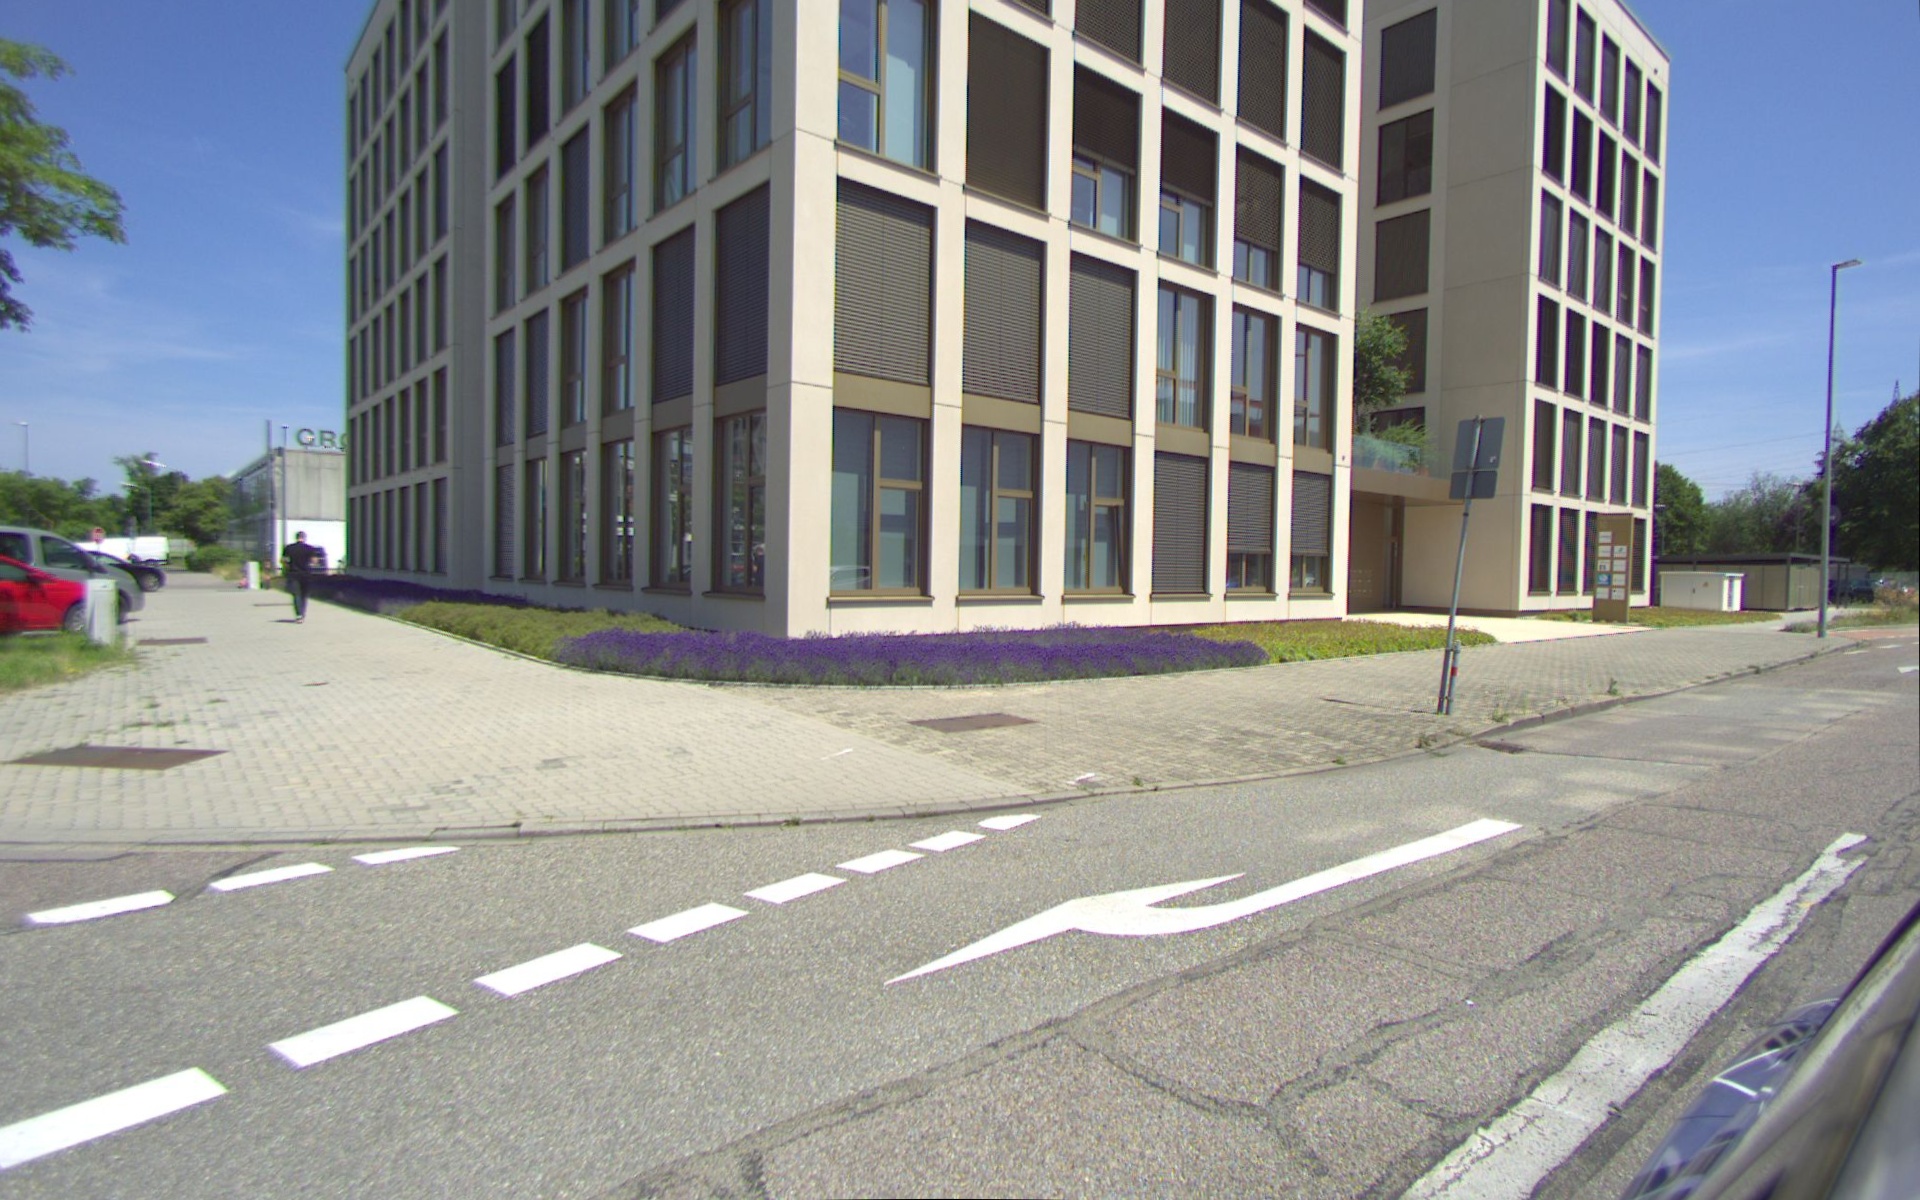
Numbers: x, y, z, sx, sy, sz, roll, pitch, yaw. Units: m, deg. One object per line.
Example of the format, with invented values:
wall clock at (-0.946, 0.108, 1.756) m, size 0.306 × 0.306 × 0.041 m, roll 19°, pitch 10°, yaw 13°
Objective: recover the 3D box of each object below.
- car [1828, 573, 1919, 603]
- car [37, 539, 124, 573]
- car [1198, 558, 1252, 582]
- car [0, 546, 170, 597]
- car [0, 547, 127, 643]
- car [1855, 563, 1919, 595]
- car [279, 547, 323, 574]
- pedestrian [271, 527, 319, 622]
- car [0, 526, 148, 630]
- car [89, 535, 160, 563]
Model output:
car at (55.701, -0.732, 61.581) m, size 3.960 × 1.682 × 1.822 m, roll 2°, pitch 3°, yaw 26°
car at (-54.960, -2.719, 63.347) m, size 3.925 × 2.038 × 2.000 m, roll 0°, pitch 2°, yaw -36°
car at (21.072, -2.382, 80.490) m, size 3.921 × 1.874 × 2.002 m, roll 0°, pitch 2°, yaw -31°
car at (-29.008, -0.978, 33.543) m, size 1.792 × 1.557 × 4.131 m, roll 0°, pitch 3°, yaw 19°
car at (-15.420, -0.085, 15.578) m, size 1.584 × 1.452 × 3.991 m, roll 1°, pitch 2°, yaw 9°
car at (59.201, -1.309, 63.562) m, size 3.958 × 1.977 × 1.984 m, roll 2°, pitch 2°, yaw 25°
car at (-37.966, -2.284, 58.291) m, size 1.758 × 1.540 × 3.574 m, roll -1°, pitch 3°, yaw -39°
pedestrian at (-13.397, -0.525, 20.414) m, size 0.758 × 1.867 × 0.869 m, roll -1°, pitch 3°, yaw -32°
car at (-17.774, -0.421, 18.434) m, size 1.676 × 1.838 × 4.899 m, roll 1°, pitch 2°, yaw 7°
car at (-67.534, -4.094, 81.898) m, size 4.280 × 2.146 × 2.094 m, roll 0°, pitch 2°, yaw -37°
